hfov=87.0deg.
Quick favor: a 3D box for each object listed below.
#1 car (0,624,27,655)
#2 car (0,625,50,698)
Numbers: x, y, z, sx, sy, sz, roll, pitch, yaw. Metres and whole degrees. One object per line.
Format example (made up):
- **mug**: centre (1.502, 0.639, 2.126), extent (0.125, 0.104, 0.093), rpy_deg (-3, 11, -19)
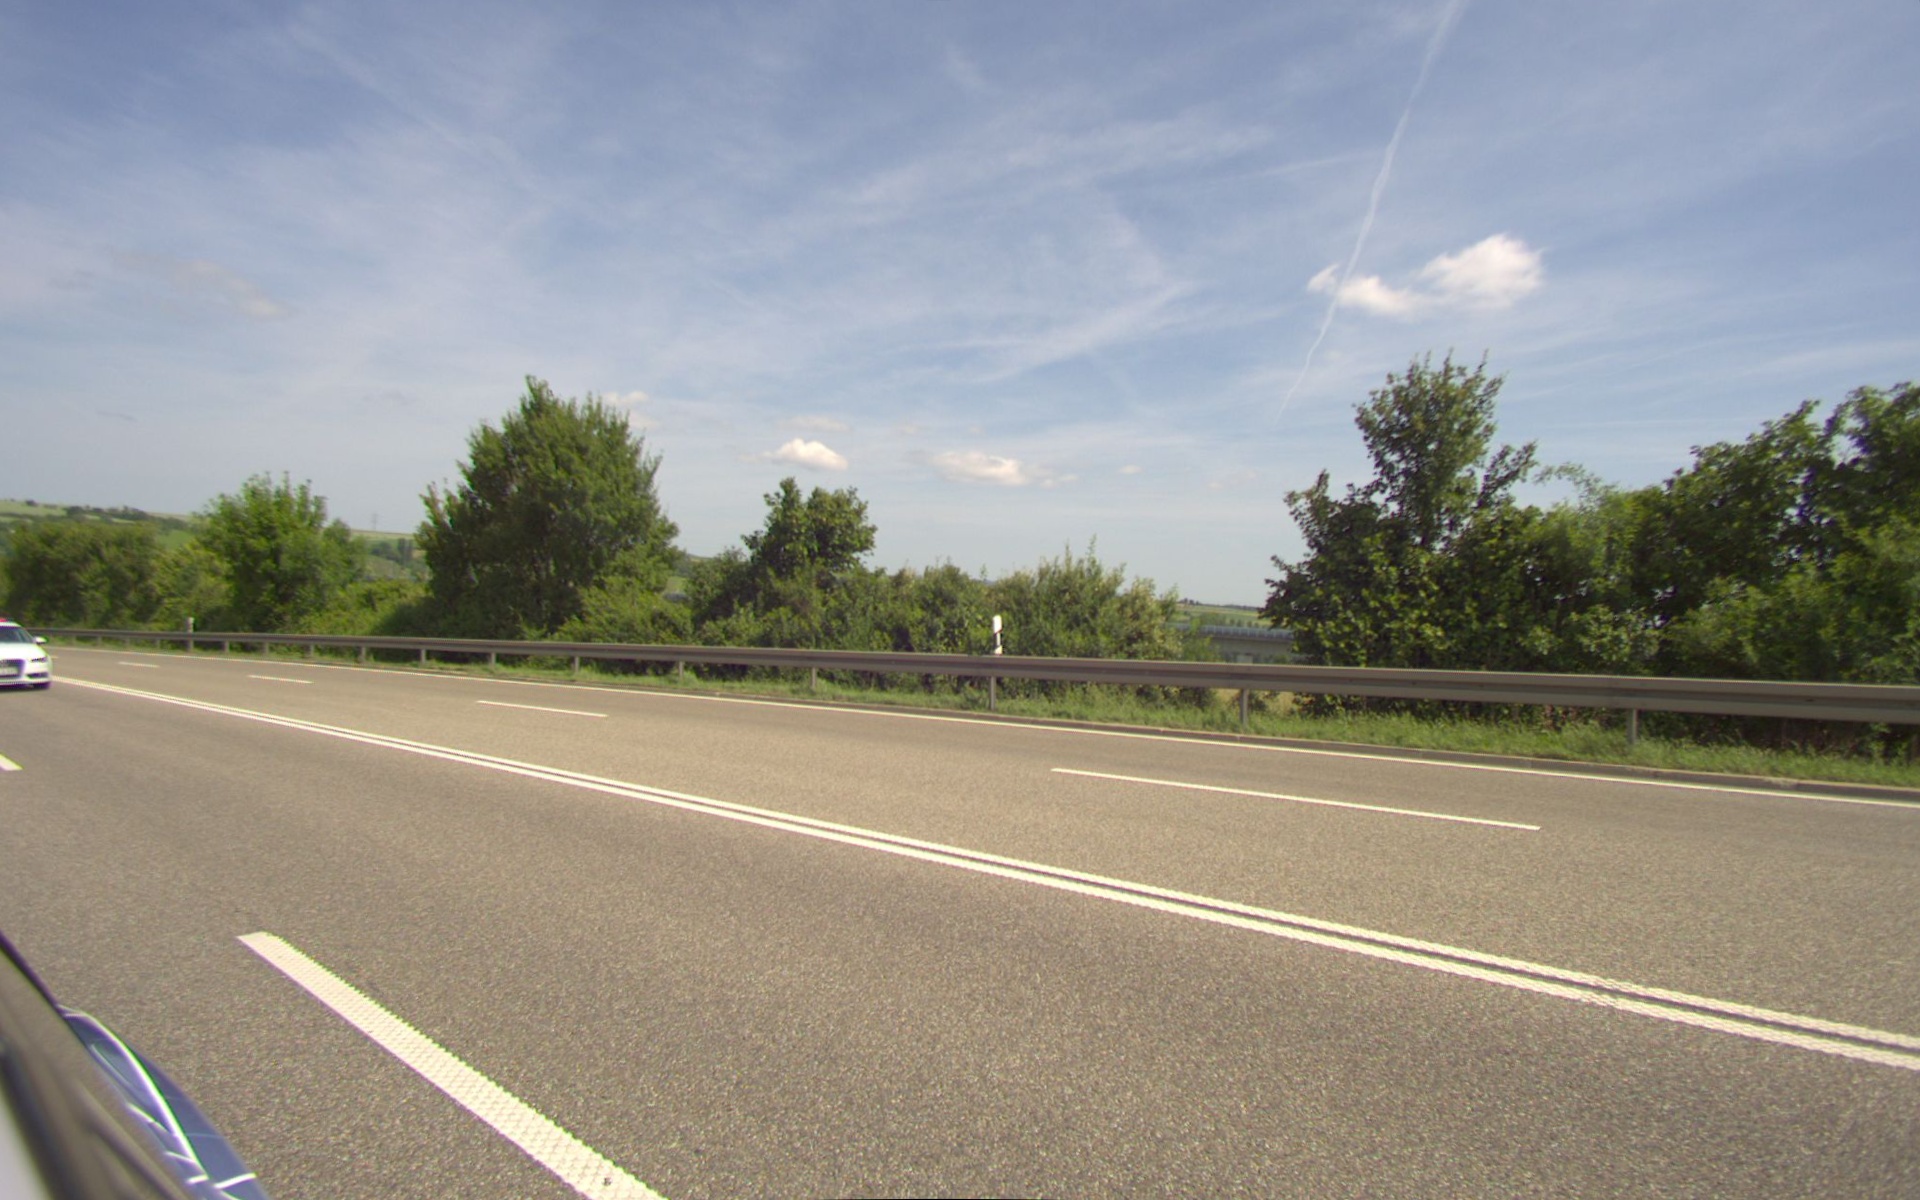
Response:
- **car**: centre (-48.244, 1.936, 50.381), extent (4.317, 1.466, 1.820), rpy_deg (-1, -2, 36)
- **car**: centre (-20.286, 1.230, 20.761), extent (4.598, 1.386, 1.687), rpy_deg (-1, -1, 39)
